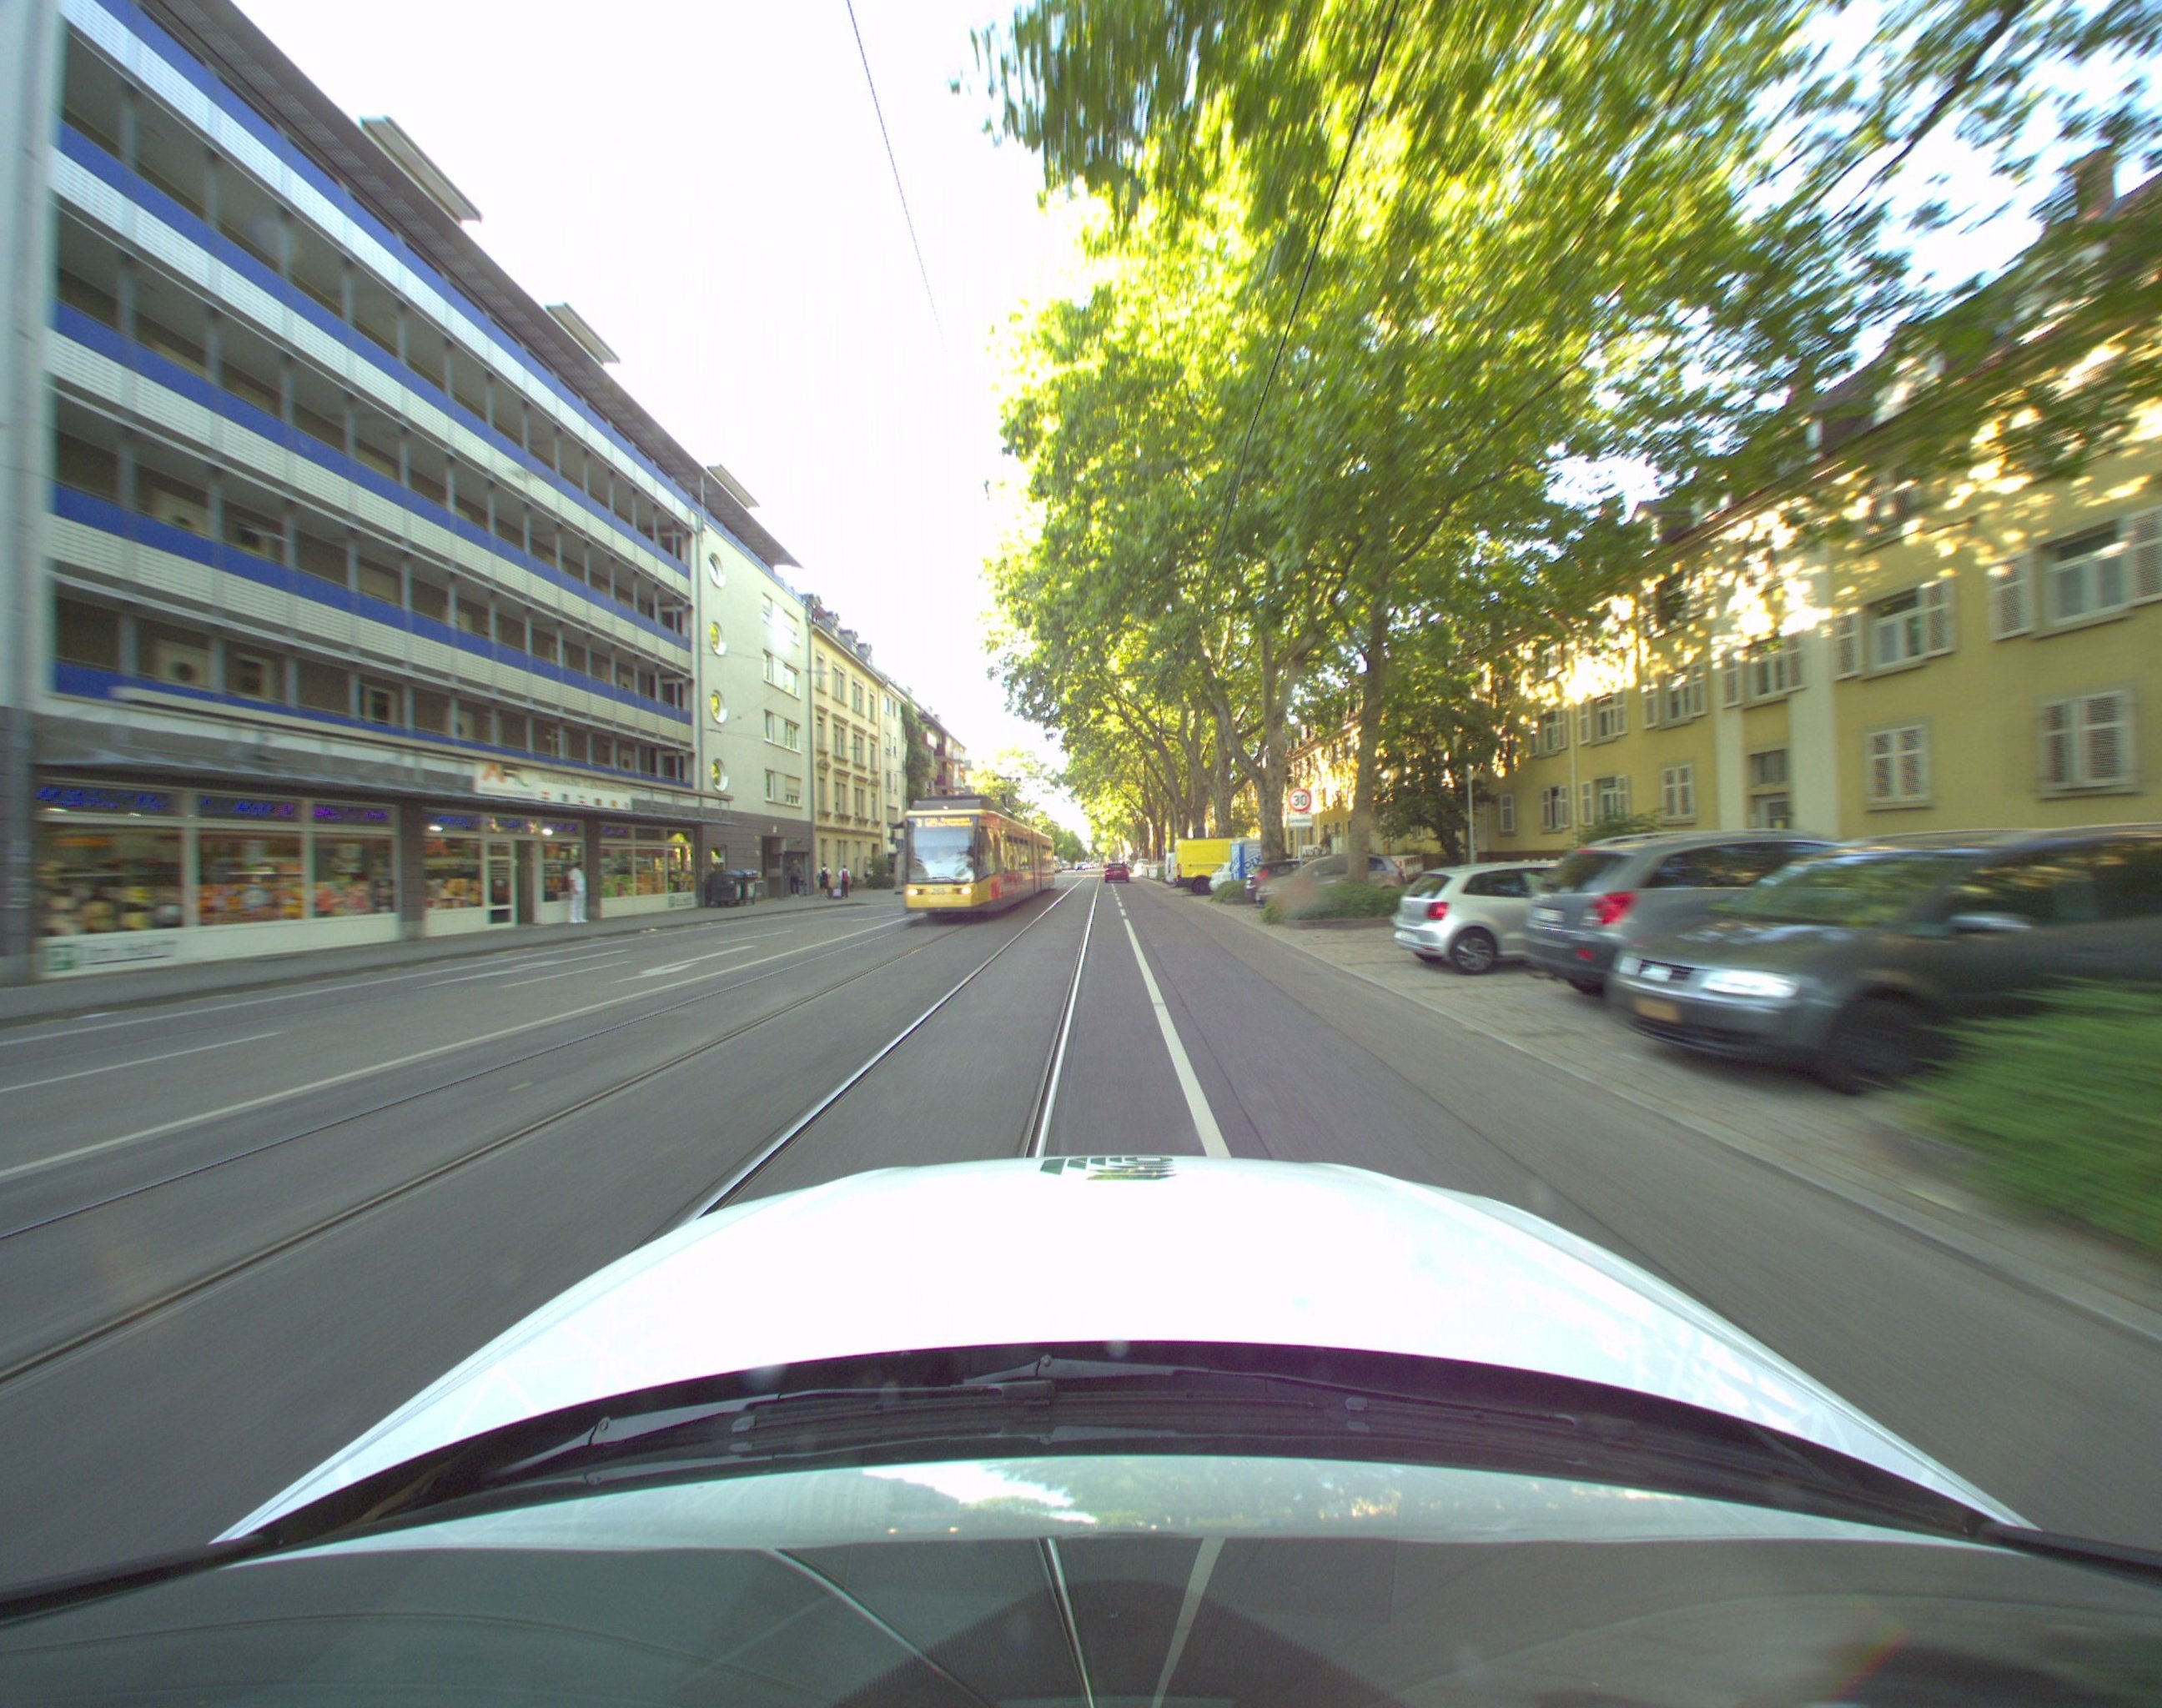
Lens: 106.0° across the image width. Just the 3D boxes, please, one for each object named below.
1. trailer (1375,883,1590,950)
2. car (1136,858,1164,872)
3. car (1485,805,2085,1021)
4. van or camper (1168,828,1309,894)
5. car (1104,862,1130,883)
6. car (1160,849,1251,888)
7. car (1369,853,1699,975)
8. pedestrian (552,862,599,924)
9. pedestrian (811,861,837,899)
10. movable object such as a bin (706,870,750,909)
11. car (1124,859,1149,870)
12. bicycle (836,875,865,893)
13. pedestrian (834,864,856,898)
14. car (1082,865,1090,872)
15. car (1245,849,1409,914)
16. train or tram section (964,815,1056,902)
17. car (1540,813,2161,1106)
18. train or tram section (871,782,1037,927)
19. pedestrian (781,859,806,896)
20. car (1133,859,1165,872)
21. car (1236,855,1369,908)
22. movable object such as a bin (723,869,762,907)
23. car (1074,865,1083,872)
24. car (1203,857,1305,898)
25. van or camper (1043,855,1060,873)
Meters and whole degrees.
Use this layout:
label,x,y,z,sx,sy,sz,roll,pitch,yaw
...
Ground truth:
label,x,y,z,sx,sy,sz,roll,pitch,yaw
trailer,6.853,1.061,14.140,3.023,0.903,1.439,-3,-1,8
car,9.502,1.458,111.717,3.826,1.772,1.919,-2,-1,5
car,6.749,0.566,8.277,4.288,1.731,1.843,-3,-1,5
van or camper,6.988,0.341,36.685,5.900,2.629,2.272,-2,-2,3
car,2.596,1.303,58.769,1.785,1.389,4.238,-1,-1,2
car,7.012,0.811,46.268,4.817,2.013,2.064,-2,0,1
car,6.260,0.793,11.617,3.637,1.424,1.867,-3,0,2
pedestrian,-14.416,1.099,23.242,0.784,1.713,0.820,1,-1,1
pedestrian,-12.237,1.237,38.789,0.857,1.784,0.740,0,-1,22
movable object such as a bin,-13.567,1.355,31.354,1.136,1.451,1.213,-2,-1,-3
car,9.982,1.843,146.482,4.475,1.602,2.030,-4,-1,5
bicycle,-13.099,1.687,46.377,0.643,0.971,2.145,-1,0,12
pedestrian,-11.480,1.308,39.633,0.720,1.633,0.691,0,-1,30
car,1.229,3.730,211.850,1.885,1.832,4.896,-2,-1,1
car,6.870,0.756,23.053,4.062,1.550,1.830,-3,-1,0
train or tram section,-3.129,0.237,40.528,2.898,3.486,14.201,-2,-1,1
car,6.142,0.621,5.992,4.411,1.657,1.907,-3,-1,-1
train or tram section,-3.497,0.077,26.708,2.898,3.486,13.373,-2,-1,1
pedestrian,-14.354,1.177,40.695,0.959,1.814,0.730,0,-1,2
car,8.964,1.517,107.442,4.074,1.521,1.916,-2,-1,0
car,6.935,0.849,25.736,3.643,1.427,1.736,-3,-1,-2
movable object such as a bin,-13.646,1.360,32.837,1.054,1.451,1.209,-2,-1,-3
car,-0.485,3.066,170.771,1.847,1.600,4.464,1,-1,1
car,7.118,0.946,33.851,3.889,1.489,1.864,-2,0,3
van or camper,-5.253,1.717,145.258,2.328,3.041,6.401,1,-1,2
